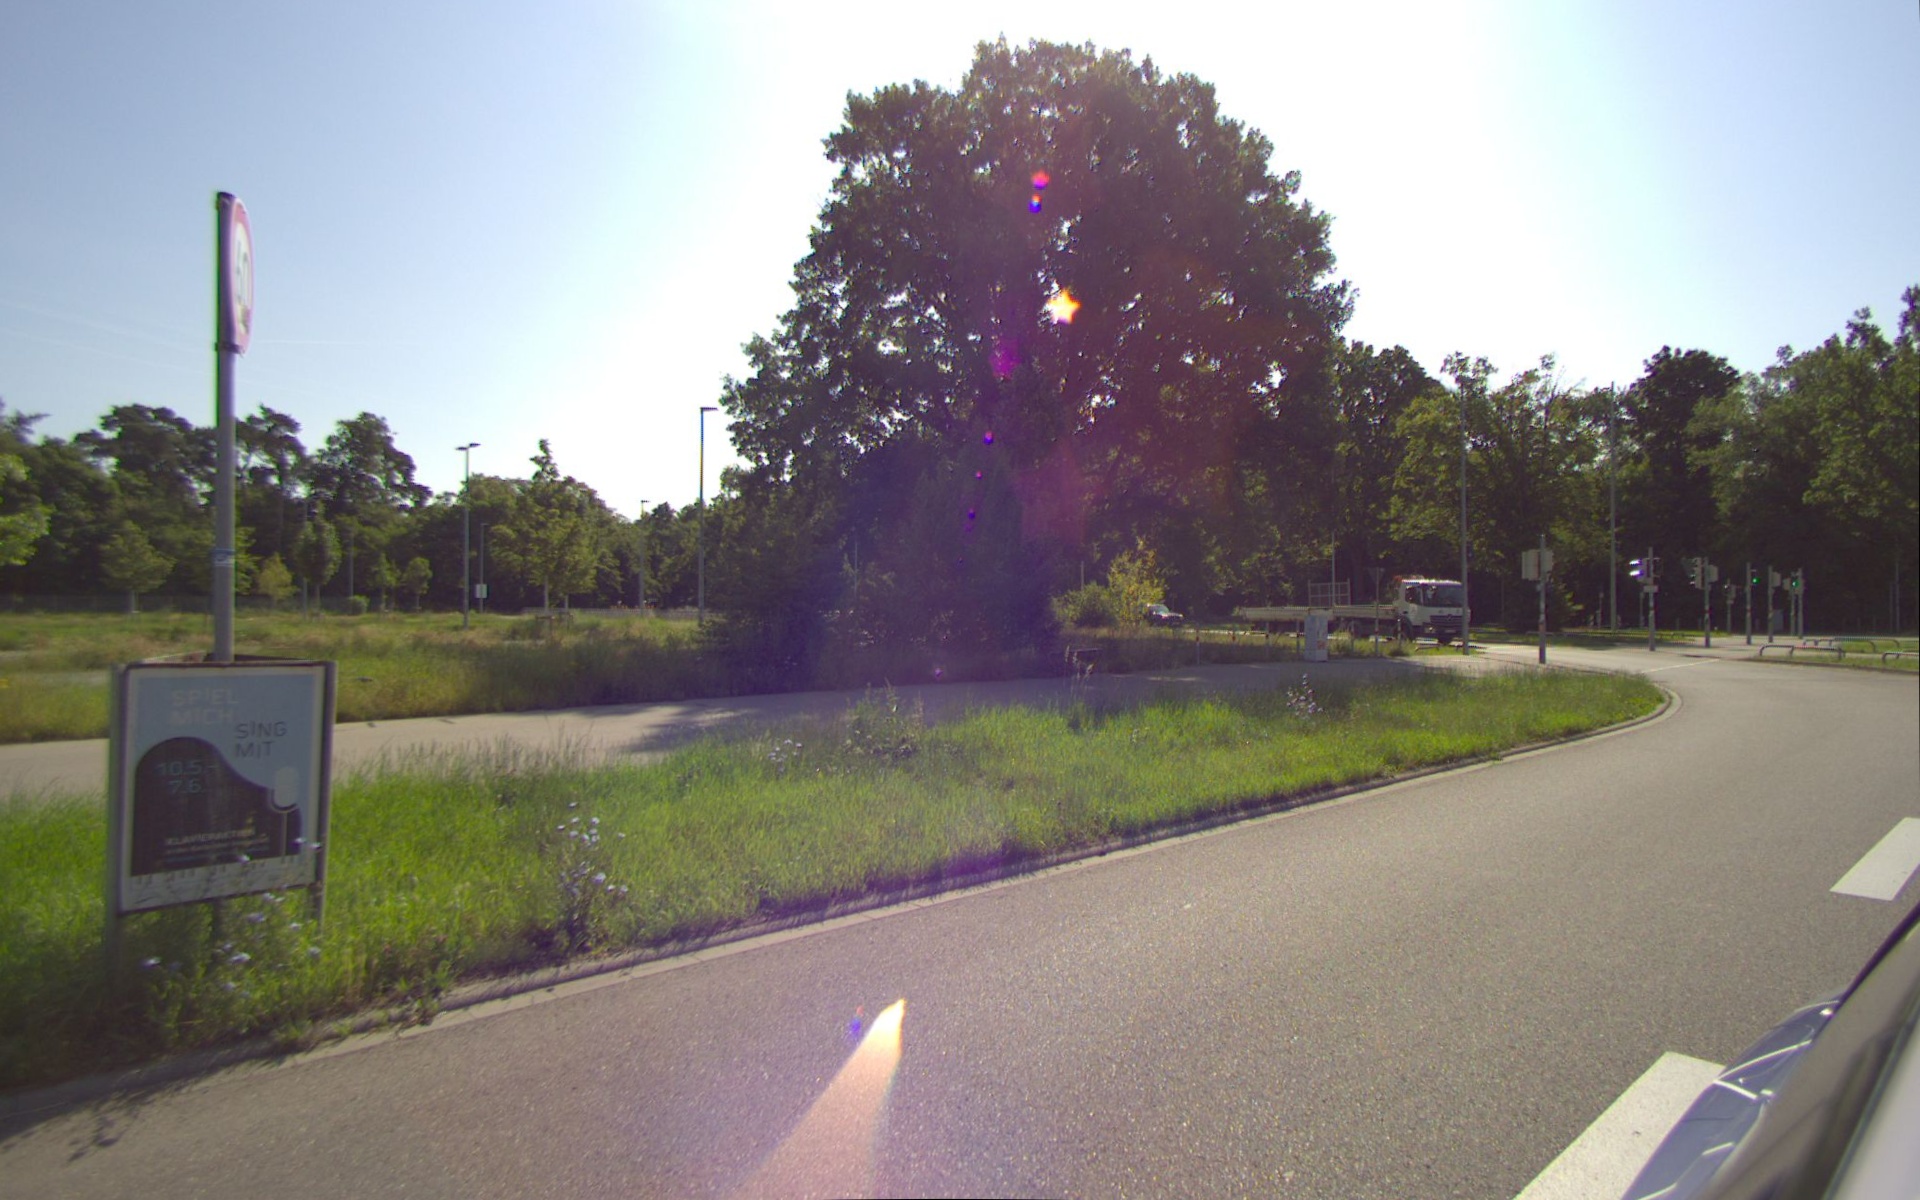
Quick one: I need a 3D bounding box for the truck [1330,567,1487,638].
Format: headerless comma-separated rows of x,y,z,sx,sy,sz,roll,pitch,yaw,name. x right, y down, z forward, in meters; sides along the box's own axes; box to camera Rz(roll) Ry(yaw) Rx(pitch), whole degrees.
18.682,0.100,42.615,2.624,2.752,6.215,0,-1,-17,truck

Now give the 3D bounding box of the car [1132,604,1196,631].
12.115,1.011,60.299,1.808,1.502,4.007,0,0,-22,car

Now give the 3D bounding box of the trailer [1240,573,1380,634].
16.668,0.159,48.756,2.647,2.722,6.902,0,0,-20,trailer
